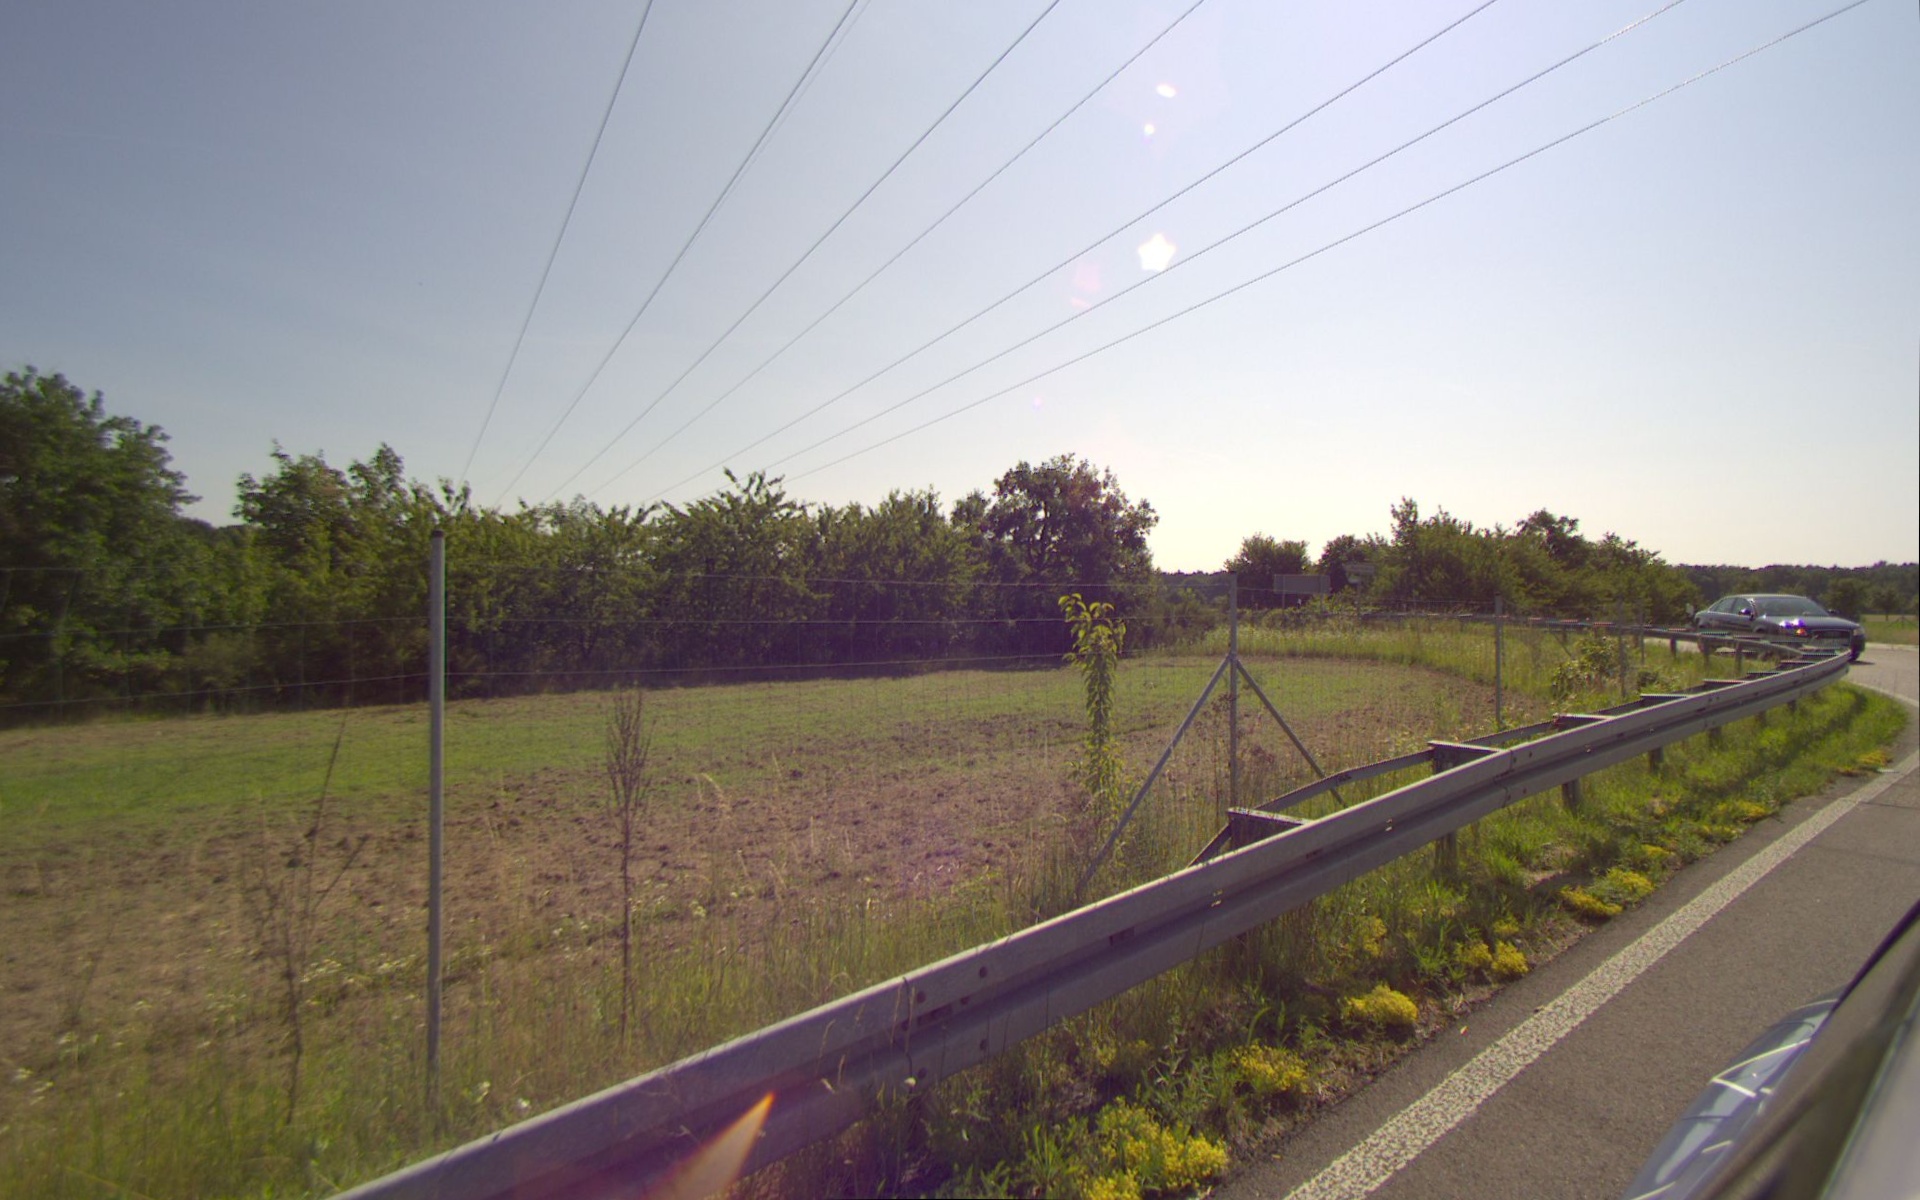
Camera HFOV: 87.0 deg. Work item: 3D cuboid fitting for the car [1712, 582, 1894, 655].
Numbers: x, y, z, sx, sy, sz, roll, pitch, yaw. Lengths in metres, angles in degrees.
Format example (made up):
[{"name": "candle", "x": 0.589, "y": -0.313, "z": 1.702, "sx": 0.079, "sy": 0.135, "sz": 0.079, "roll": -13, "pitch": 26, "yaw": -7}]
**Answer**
[{"name": "car", "x": 18.657, "y": 0.378, "z": 22.635, "sx": 1.865, "sy": 1.475, "sz": 4.047, "roll": -1, "pitch": 0, "yaw": 21}]
